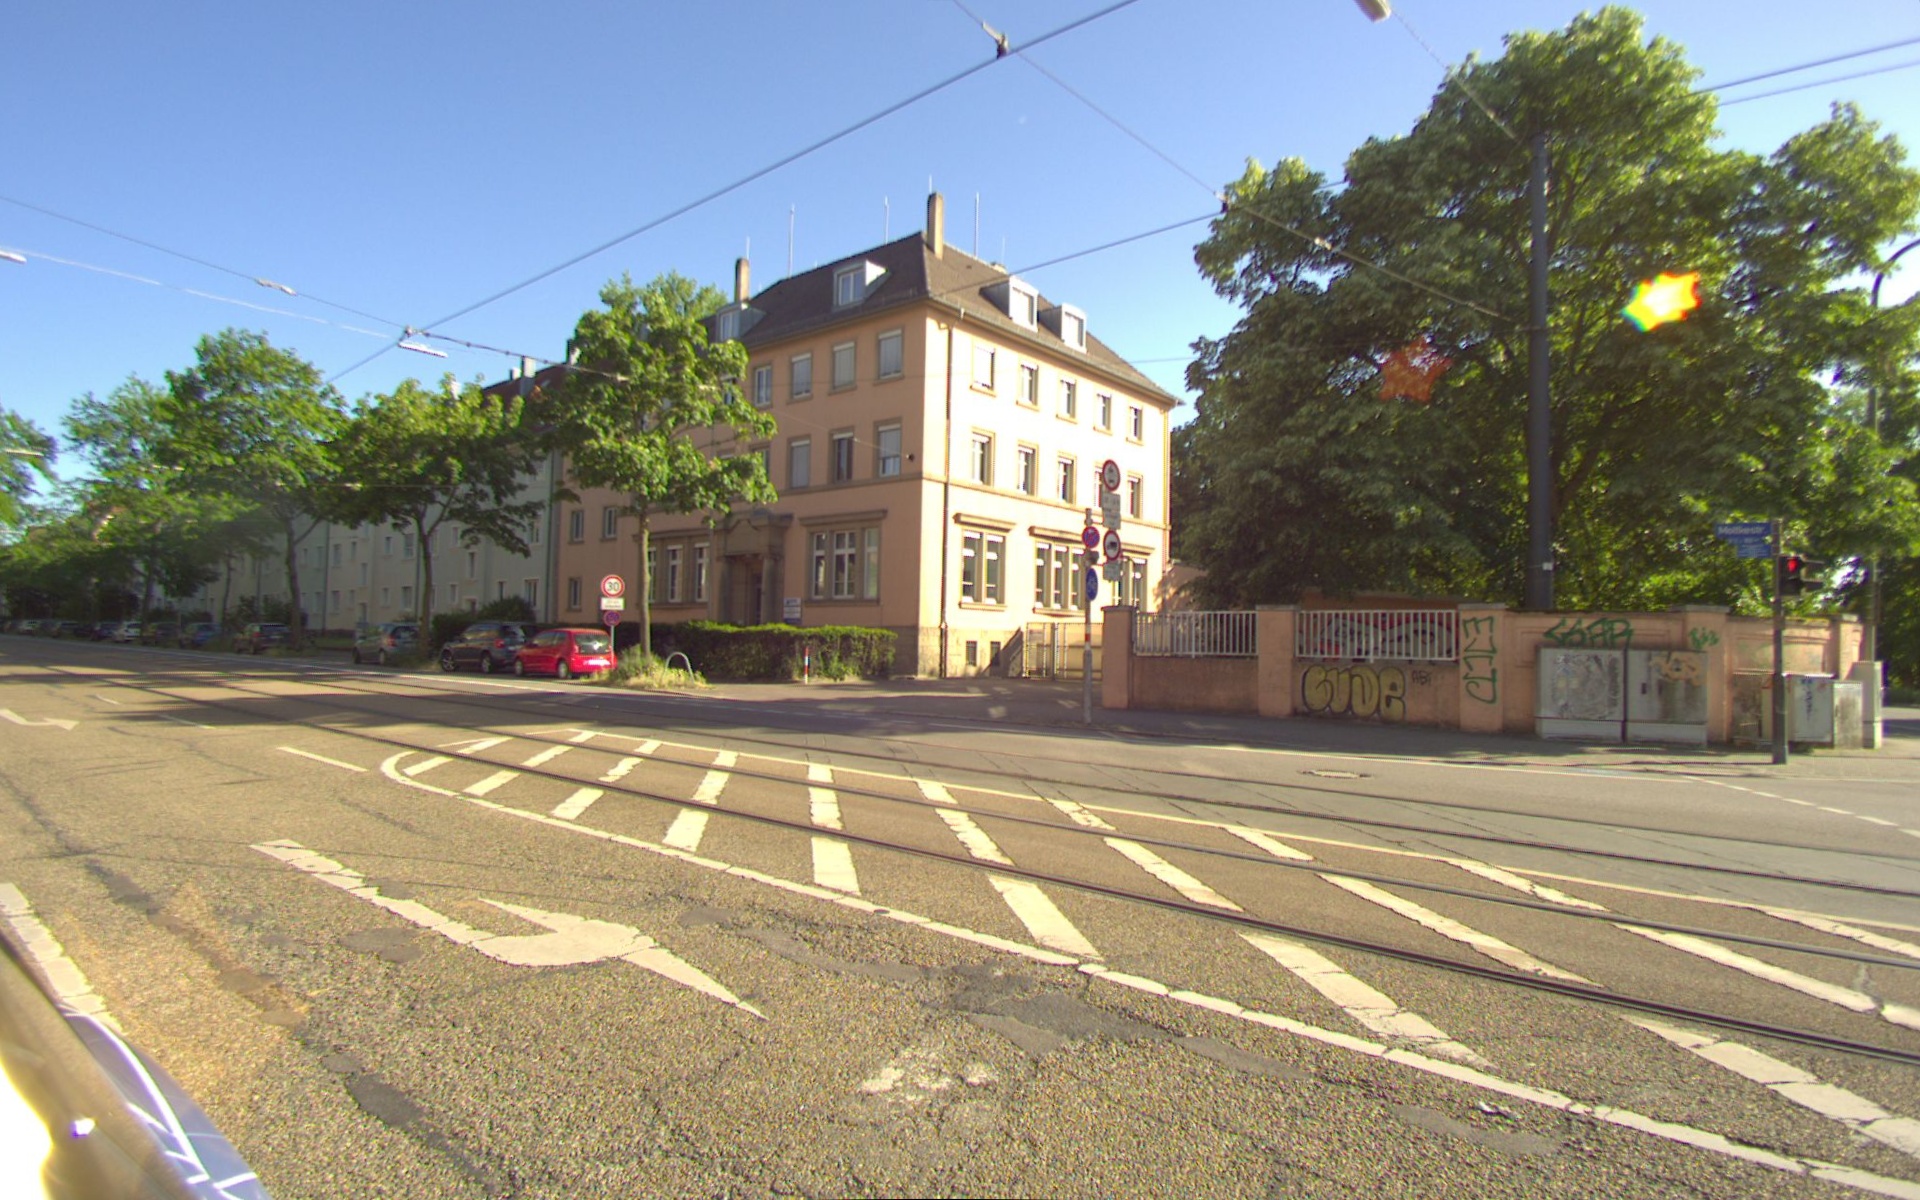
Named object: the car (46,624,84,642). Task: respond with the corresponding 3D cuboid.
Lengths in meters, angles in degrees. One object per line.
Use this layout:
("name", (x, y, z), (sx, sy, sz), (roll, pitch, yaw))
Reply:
("car", (-76.417, 2.798, 86.424), (3.627, 1.430, 1.793), (-1, -4, 39))

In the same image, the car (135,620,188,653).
("car", (-49.944, 2.281, 63.307), (3.627, 1.955, 1.793), (-1, -4, 39))

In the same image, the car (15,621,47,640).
("car", (-93.811, 3.065, 102.218), (3.627, 1.792, 1.793), (-1, -4, 39))

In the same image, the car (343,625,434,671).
("car", (-21.947, 1.827, 38.823), (3.875, 1.671, 1.792), (-1, -4, 41))

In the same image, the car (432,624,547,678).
("car", (-15.349, 1.640, 32.995), (3.814, 1.671, 1.794), (-1, -4, 37))

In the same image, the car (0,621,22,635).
("car", (-102.988, 3.019, 109.382), (3.627, 1.535, 1.793), (-1, -4, 39))

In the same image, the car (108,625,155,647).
("car", (-56.930, 2.481, 69.526), (3.627, 1.430, 1.793), (-1, -4, 39))

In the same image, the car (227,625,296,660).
("car", (-34.178, 2.052, 49.498), (3.627, 1.611, 1.793), (-1, -4, 39))

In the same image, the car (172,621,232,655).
("car", (-43.043, 2.173, 57.419), (3.792, 1.839, 1.793), (-1, -4, 39))

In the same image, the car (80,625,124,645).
("car", (-63.790, 2.616, 75.228), (3.627, 1.430, 1.793), (-1, -4, 39))

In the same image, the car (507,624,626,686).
("car", (-11.735, 1.616, 30.136), (3.369, 1.719, 1.794), (-1, -4, 37))
